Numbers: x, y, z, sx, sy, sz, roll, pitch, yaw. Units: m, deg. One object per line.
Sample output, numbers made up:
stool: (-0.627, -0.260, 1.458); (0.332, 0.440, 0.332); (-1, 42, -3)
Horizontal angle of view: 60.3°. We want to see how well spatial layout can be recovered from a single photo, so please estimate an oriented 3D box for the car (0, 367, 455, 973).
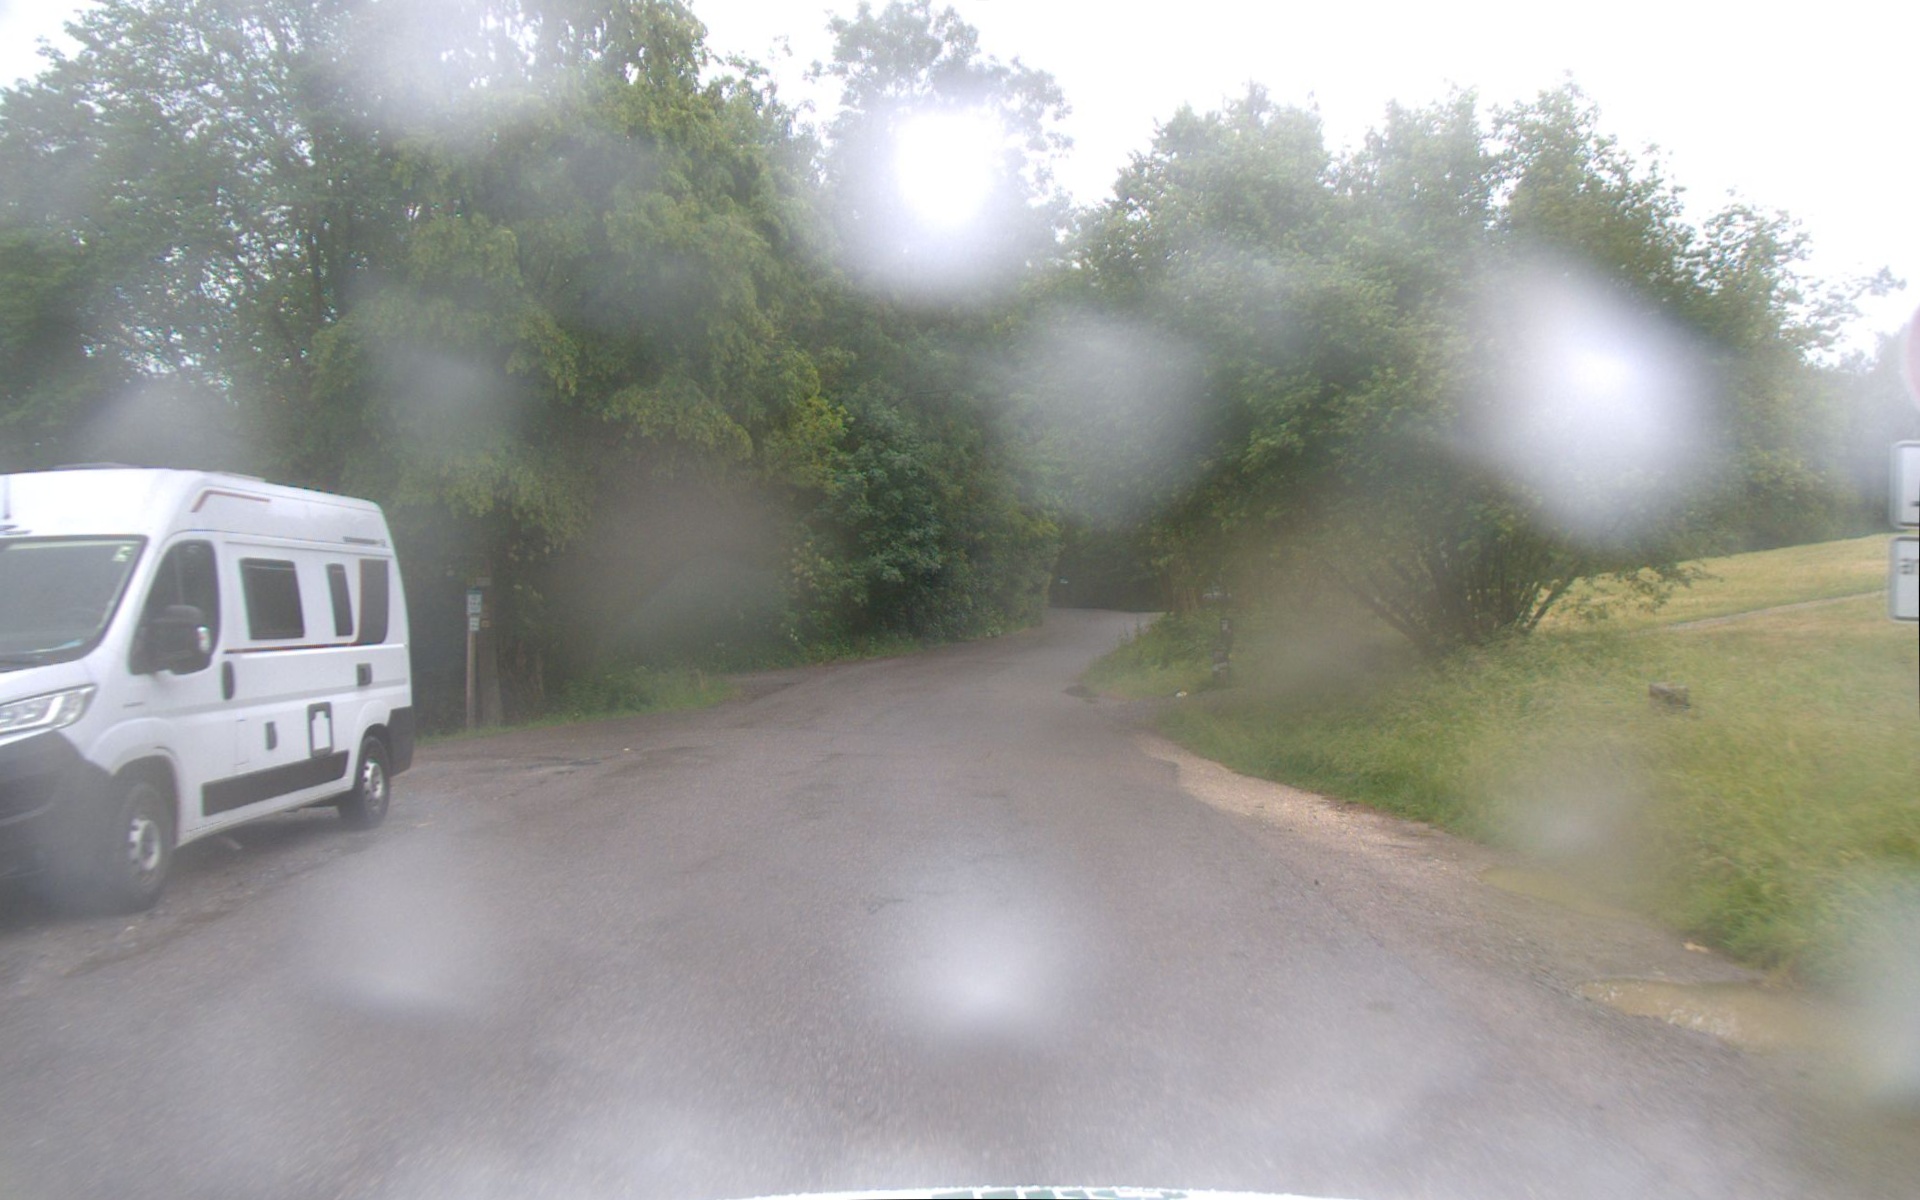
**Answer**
car: (-5.274, 0.331, 10.532); (2.227, 2.743, 6.048); (-4, 1, -1)
